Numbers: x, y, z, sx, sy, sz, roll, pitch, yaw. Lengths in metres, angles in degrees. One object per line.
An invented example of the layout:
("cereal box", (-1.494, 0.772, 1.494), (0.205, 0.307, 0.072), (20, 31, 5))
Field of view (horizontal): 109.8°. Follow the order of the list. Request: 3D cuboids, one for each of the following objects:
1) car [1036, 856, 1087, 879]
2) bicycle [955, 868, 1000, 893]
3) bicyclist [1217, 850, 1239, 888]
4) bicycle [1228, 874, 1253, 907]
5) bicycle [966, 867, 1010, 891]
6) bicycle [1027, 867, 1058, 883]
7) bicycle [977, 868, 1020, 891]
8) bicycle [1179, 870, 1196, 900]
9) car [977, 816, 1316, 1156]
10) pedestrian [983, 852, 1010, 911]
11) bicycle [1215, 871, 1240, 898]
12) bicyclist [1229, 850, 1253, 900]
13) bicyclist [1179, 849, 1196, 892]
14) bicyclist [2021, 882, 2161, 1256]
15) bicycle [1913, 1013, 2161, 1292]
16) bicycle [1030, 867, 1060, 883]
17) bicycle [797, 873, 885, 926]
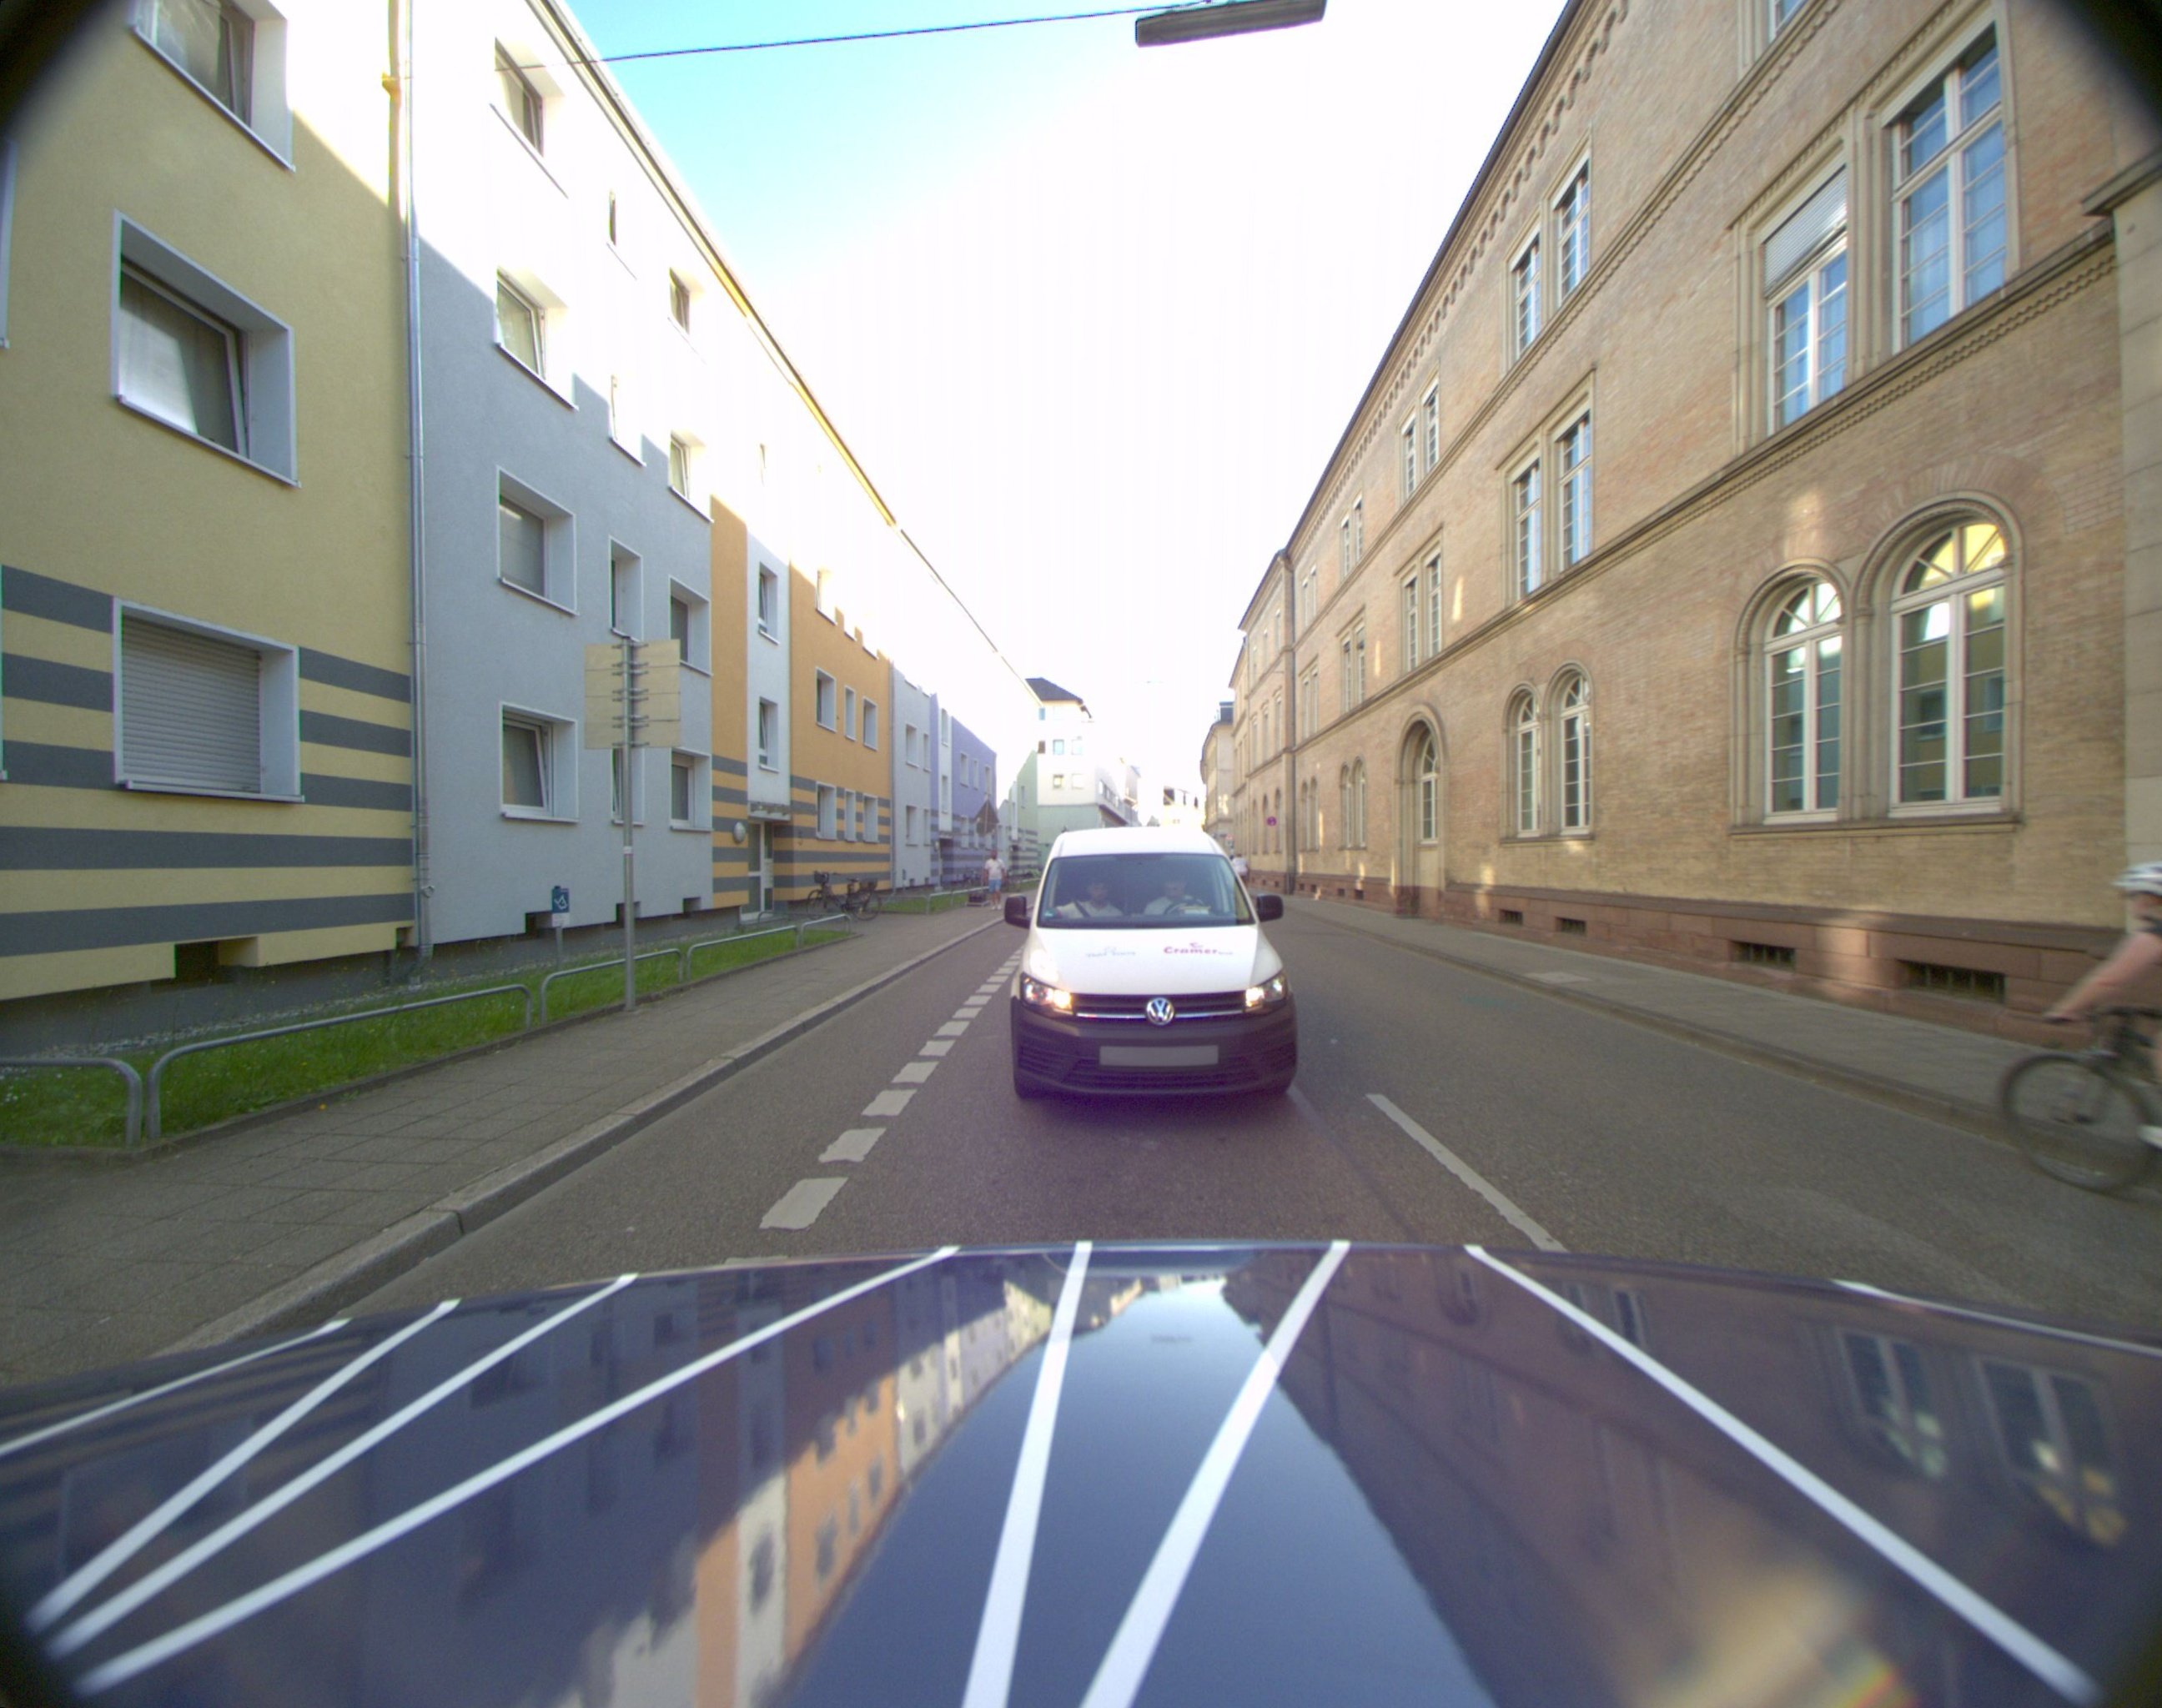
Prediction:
("car", (-1.596, 1.136, 63.497), (3.995, 1.681, 1.901), (-2, 1, 5))
("bicycle", (-4.329, 1.106, 31.879), (1.775, 0.990, 0.584), (1, 1, 7))
("bicyclist", (5.971, 0.597, 30.862), (0.651, 1.500, 1.111), (2, 0, 2))
("bicycle", (5.218, 1.176, 24.947), (0.651, 1.001, 1.807), (2, 0, 8))
("bicycle", (-4.052, 1.096, 33.222), (1.775, 0.990, 0.584), (1, 1, 7))
("bicycle", (-2.318, 1.276, 46.093), (1.775, 0.934, 0.584), (1, 1, 7))
("bicycle", (-3.662, 1.134, 33.838), (1.775, 0.934, 0.584), (1, 1, 7))
("bicycle", (3.858, 1.115, 27.601), (0.546, 1.001, 1.758), (2, 0, 6))
("car", (0.389, 0.720, 6.771), (1.819, 1.825, 5.341), (0, 0, 1))
("pedestrian", (-2.436, 0.791, 21.883), (0.644, 1.662, 0.834), (1, 0, 3))
("bicycle", (5.942, 1.219, 30.861), (0.651, 1.001, 1.876), (2, 0, 2))
("bicyclist", (5.215, 0.675, 24.859), (0.651, 1.558, 0.961), (2, 0, 8))
("bicyclist", (3.895, 0.583, 27.829), (0.546, 1.524, 0.870), (2, 0, 6))
("bicyclist", (4.648, 0.871, 3.016), (0.687, 1.467, 0.871), (2, 0, 1))
("bicycle", (4.655, 1.294, 3.044), (0.687, 0.919, 1.766), (2, 0, 1))
("bicycle", (-2.238, 1.308, 47.630), (1.775, 0.934, 0.584), (1, 1, 7))
("bicycle", (-5.398, 1.007, 17.123), (1.776, 1.118, 0.583), (1, 1, -1))
